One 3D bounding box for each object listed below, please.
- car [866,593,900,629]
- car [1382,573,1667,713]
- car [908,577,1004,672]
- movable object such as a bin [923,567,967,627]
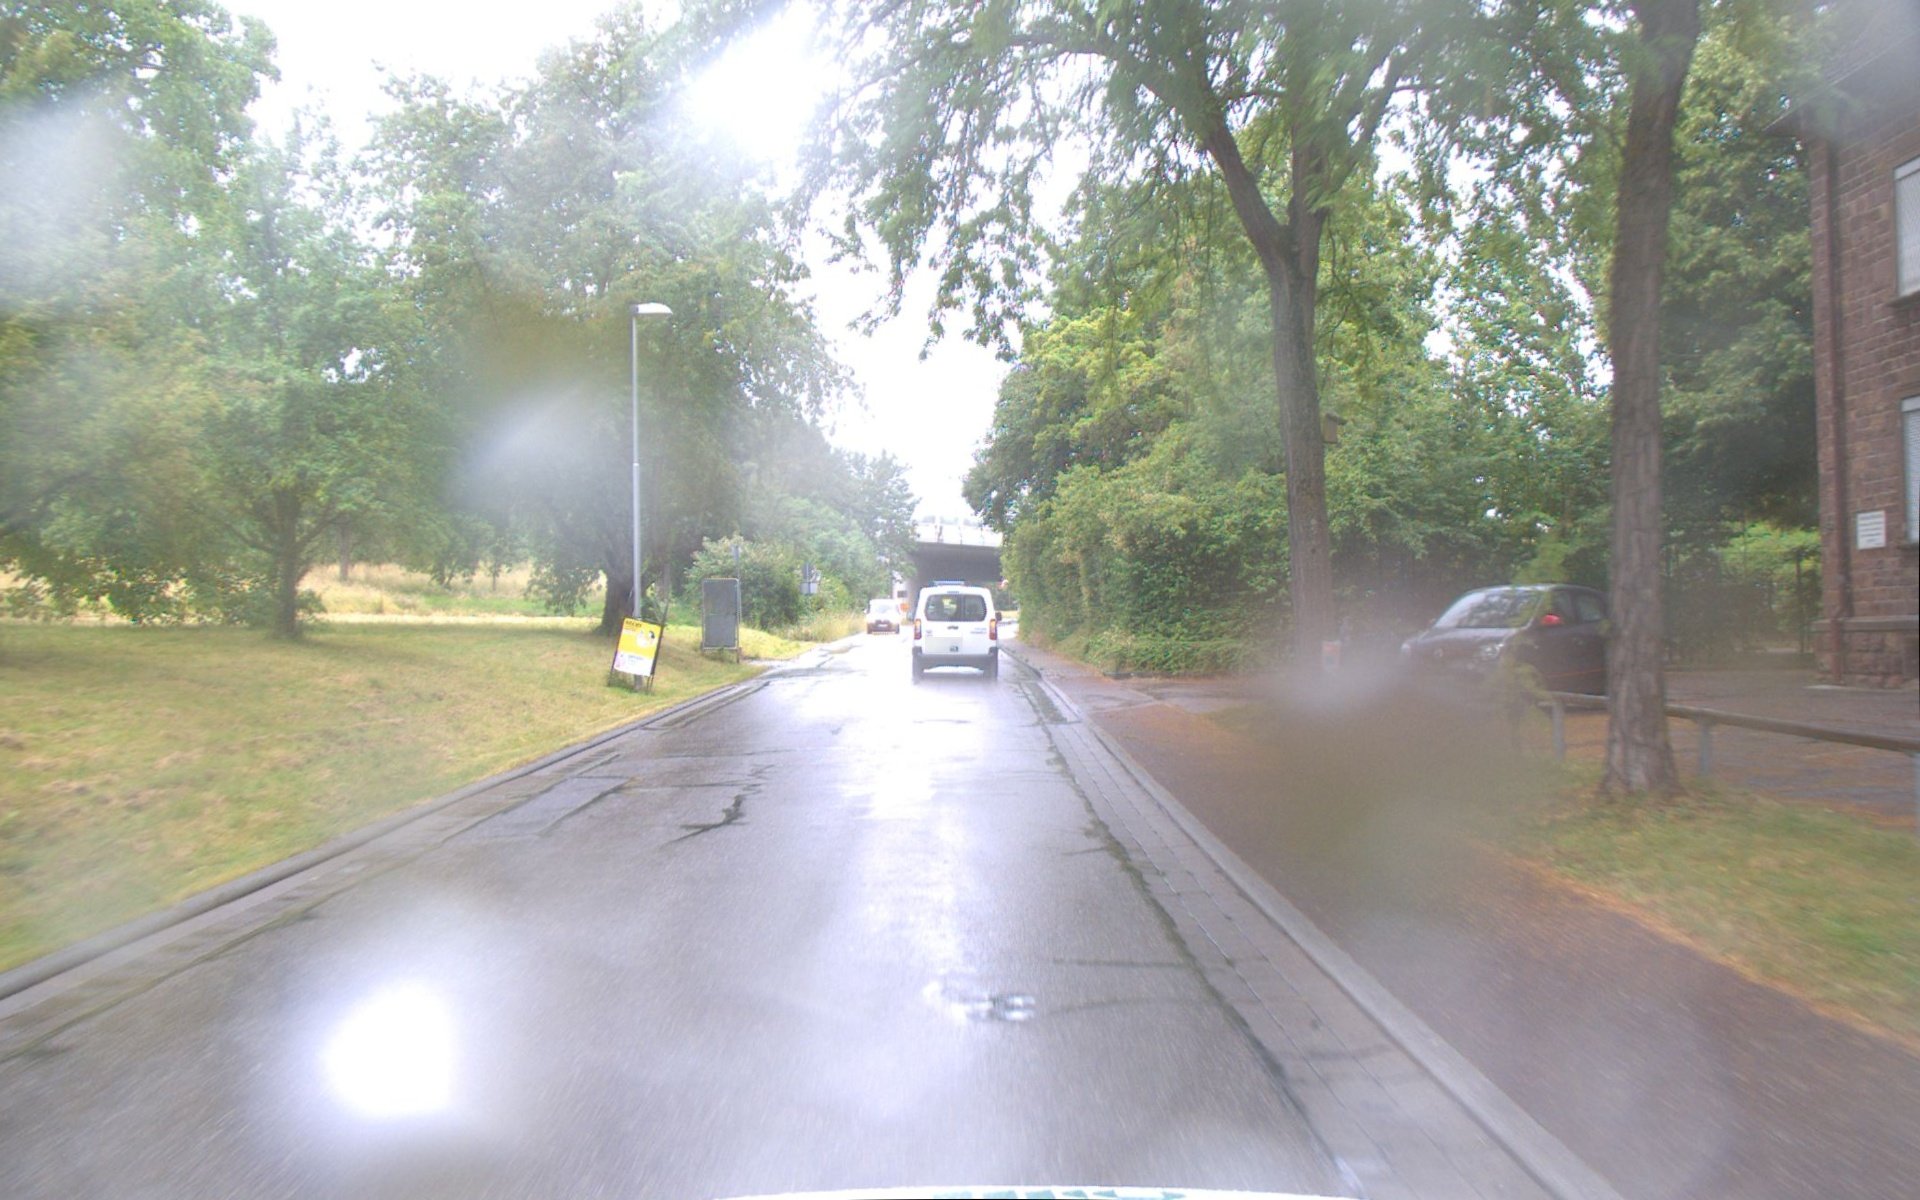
[{"bbox_3d":[-4.113,0.586,88.747,1.787,1.864,4.305,0,0,-2],"label":"car"},{"bbox_3d":[6.981,0.485,20.347,3.574,1.578,1.600,-1,-1,-37],"label":"car"},{"bbox_3d":[-0.072,0.468,34.787,1.858,1.838,4.000,-1,1,0],"label":"car"},{"bbox_3d":[-0.648,-0.126,73.659,1.724,2.592,4.240,1,0,2],"label":"movable object such as a bin"}]
